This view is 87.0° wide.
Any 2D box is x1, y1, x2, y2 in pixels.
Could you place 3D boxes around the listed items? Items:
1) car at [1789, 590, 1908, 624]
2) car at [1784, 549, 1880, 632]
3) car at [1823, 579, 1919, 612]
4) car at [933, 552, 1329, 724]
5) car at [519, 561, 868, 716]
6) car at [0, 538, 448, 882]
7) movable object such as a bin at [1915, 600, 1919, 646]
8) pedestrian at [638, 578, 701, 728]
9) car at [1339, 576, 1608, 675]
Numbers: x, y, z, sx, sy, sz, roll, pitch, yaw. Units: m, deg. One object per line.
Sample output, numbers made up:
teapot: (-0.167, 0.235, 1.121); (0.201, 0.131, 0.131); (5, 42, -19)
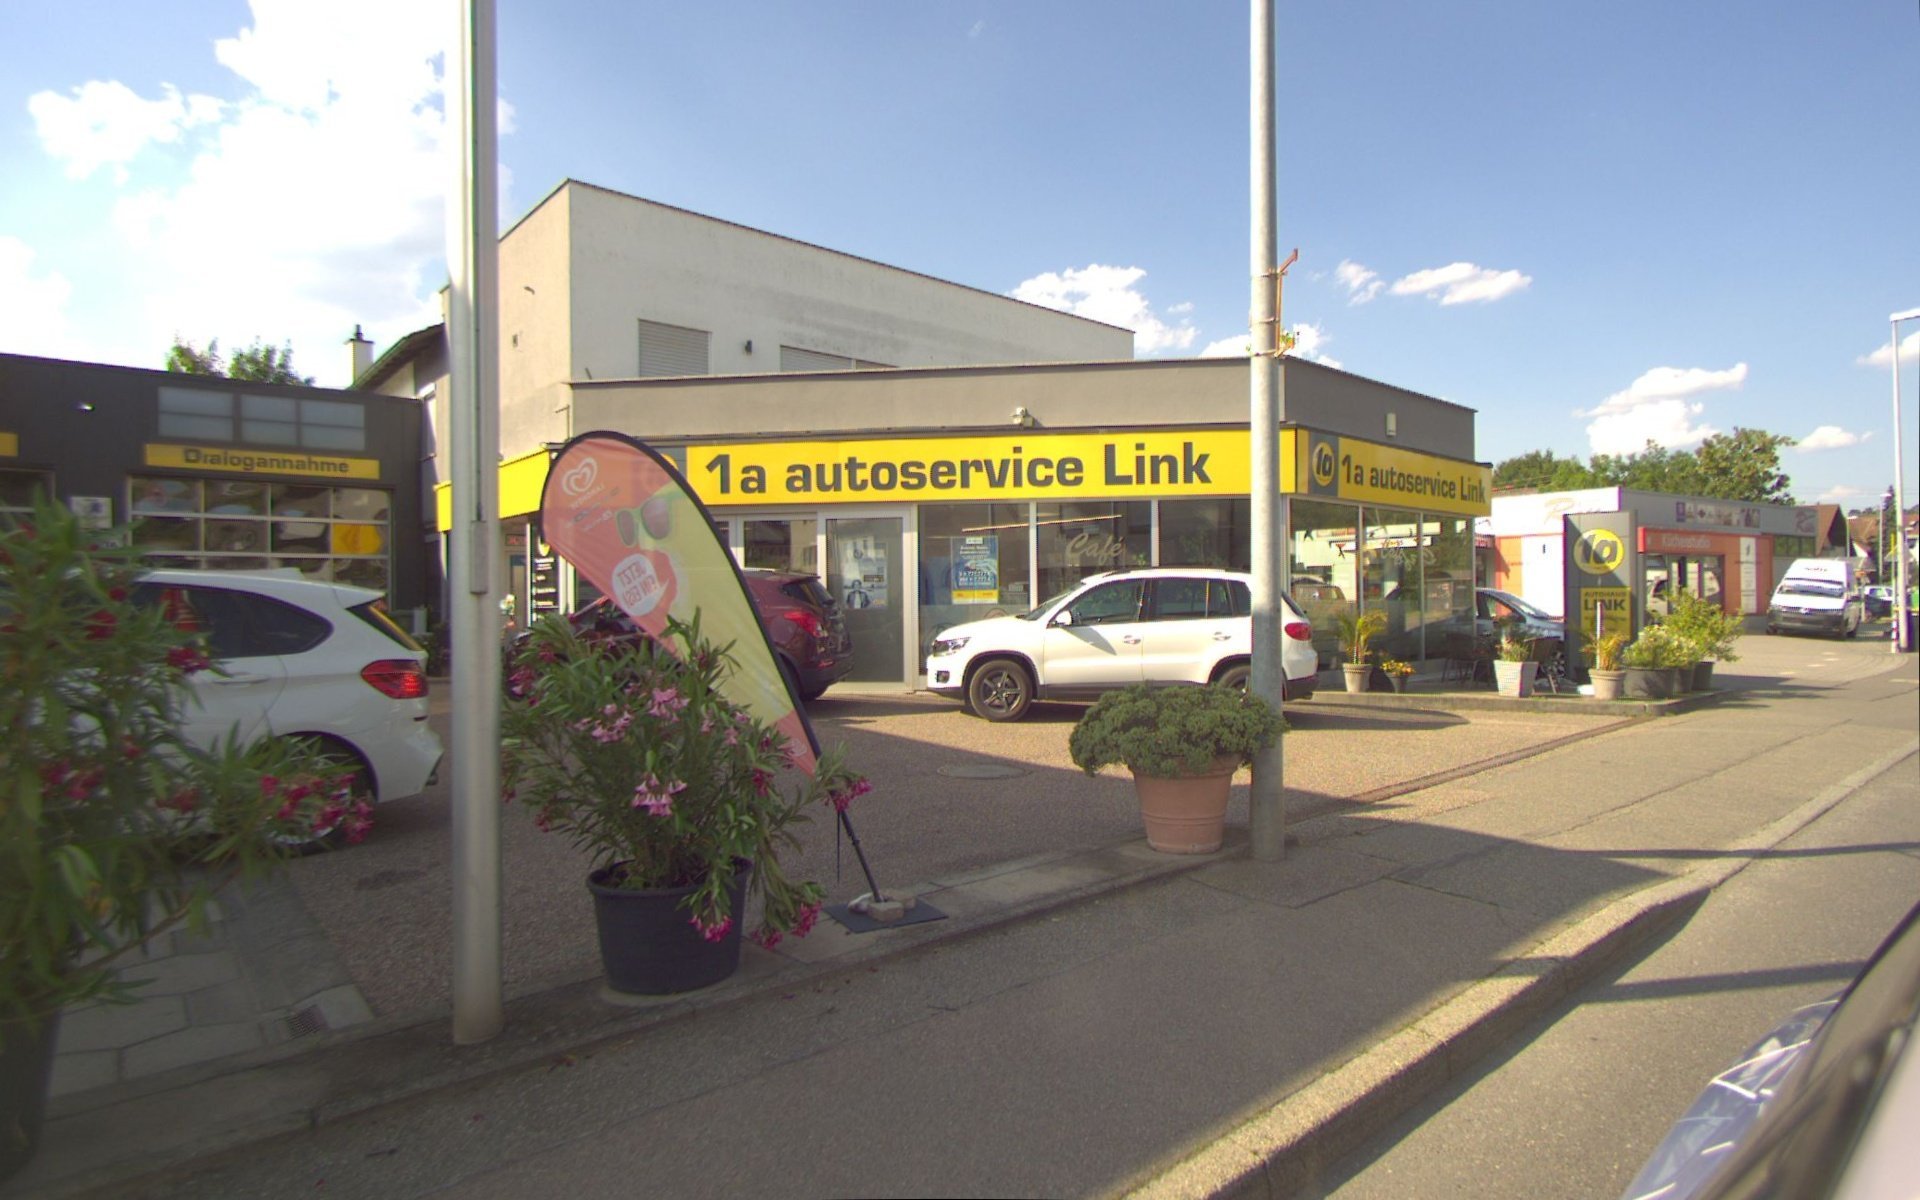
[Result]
car: (42.638, 0.306, 48.632); (1.596, 1.434, 4.076); (-1, 2, -37)
car: (27.444, -0.317, 31.799); (5.093, 2.405, 1.837); (-1, 1, -44)
car: (47.512, -0.263, 52.498); (1.653, 1.623, 3.947); (-2, 1, -39)
car: (1.814, 0.346, 11.275); (4.009, 1.695, 1.674); (1, 1, 8)
car: (-3.033, 0.396, 11.903); (3.625, 1.653, 1.674); (0, 1, 8)
car: (-5.042, 0.505, 5.313); (3.929, 1.597, 1.675); (0, 0, -41)
movable object such as a bin: (23.339, 0.550, 24.300); (0.563, 1.088, 0.567); (0, 1, -44)
pedestrian: (-2.980, 0.524, 10.414); (0.423, 1.498, 0.624); (0, 0, 7)
car: (8.954, 0.387, 17.931); (1.500, 1.550, 3.996); (0, 0, -39)
